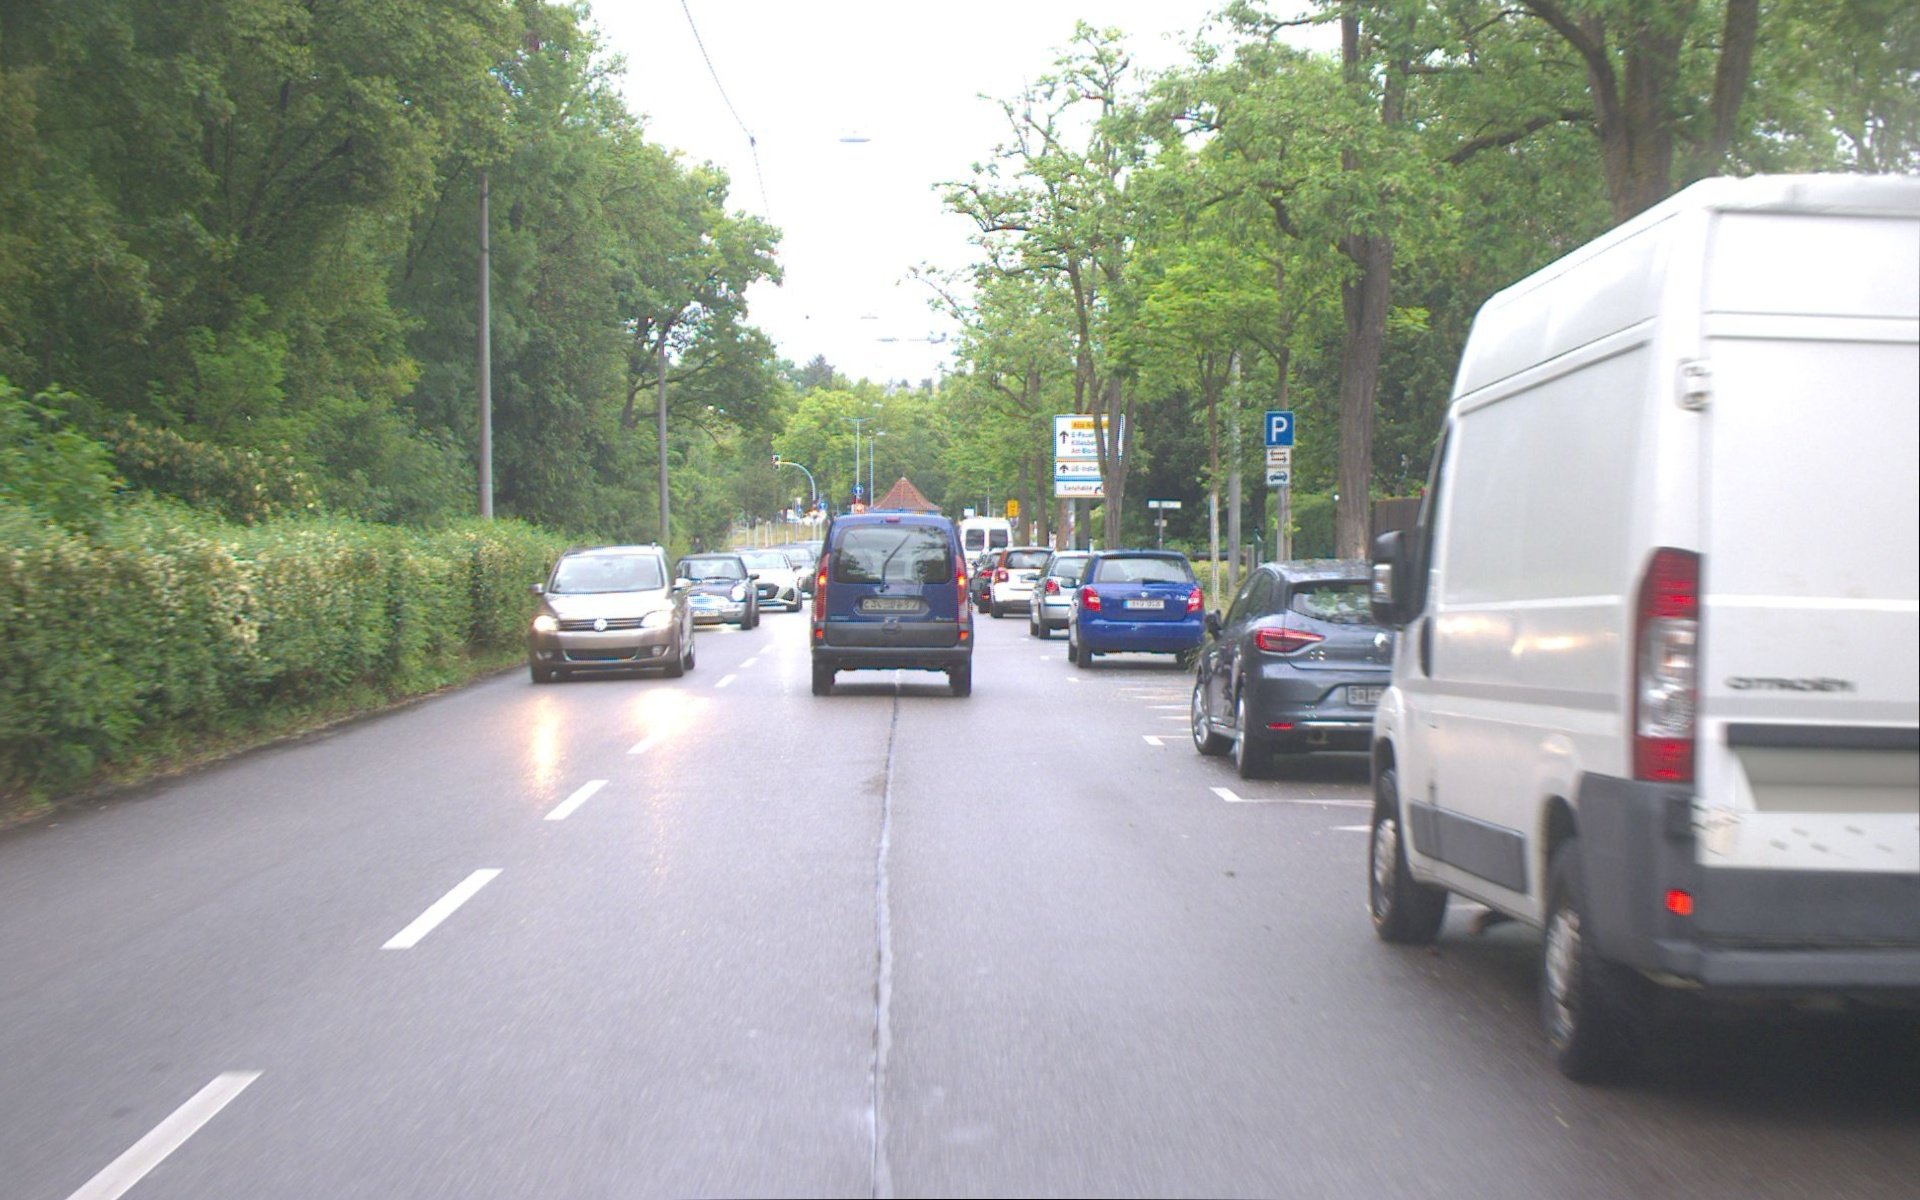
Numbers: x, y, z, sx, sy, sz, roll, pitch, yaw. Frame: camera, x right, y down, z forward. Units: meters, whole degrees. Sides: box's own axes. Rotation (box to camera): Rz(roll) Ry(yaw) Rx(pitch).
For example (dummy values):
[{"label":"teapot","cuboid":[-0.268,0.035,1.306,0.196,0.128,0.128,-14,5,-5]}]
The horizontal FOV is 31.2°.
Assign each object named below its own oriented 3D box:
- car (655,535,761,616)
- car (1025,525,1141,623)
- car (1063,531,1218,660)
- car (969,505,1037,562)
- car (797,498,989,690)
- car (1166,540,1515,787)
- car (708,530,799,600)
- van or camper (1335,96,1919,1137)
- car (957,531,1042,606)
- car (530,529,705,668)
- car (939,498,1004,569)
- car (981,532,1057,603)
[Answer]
[{"label":"car","cuboid":[-4.632,-0.478,63.659,1.686,1.351,3.724,-2,2,-1]},{"label":"car","cuboid":[2.027,-0.461,57.628,1.618,1.503,3.835,1,2,-2]},{"label":"car","cuboid":[2.288,-0.095,44.424,1.721,1.500,4.051,1,2,0]},{"label":"car","cuboid":[1.182,-1.866,96.052,1.698,1.519,3.868,1,1,-2]},{"label":"car","cuboid":[-0.737,-0.107,35.299,1.766,1.824,3.543,1,2,-4]},{"label":"car","cuboid":[2.534,0.373,23.792,1.740,1.474,3.964,1,2,-3]},{"label":"car","cuboid":[-4.839,-0.849,81.168,1.856,1.463,4.447,-3,2,0]},{"label":"van or camper","cuboid":[2.656,-0.029,11.452,2.078,2.641,5.347,1,2,-1]},{"label":"car","cuboid":[0.826,-0.699,73.598,1.632,1.504,2.958,1,2,-2]},{"label":"car","cuboid":[-4.030,-0.060,40.957,1.729,1.487,4.001,-2,2,-1]},{"label":"car","cuboid":[0.391,-2.348,121.349,2.205,2.441,4.730,0,1,-1]},{"label":"car","cuboid":[1.387,-0.778,79.845,1.698,1.519,3.868,1,2,2]}]
